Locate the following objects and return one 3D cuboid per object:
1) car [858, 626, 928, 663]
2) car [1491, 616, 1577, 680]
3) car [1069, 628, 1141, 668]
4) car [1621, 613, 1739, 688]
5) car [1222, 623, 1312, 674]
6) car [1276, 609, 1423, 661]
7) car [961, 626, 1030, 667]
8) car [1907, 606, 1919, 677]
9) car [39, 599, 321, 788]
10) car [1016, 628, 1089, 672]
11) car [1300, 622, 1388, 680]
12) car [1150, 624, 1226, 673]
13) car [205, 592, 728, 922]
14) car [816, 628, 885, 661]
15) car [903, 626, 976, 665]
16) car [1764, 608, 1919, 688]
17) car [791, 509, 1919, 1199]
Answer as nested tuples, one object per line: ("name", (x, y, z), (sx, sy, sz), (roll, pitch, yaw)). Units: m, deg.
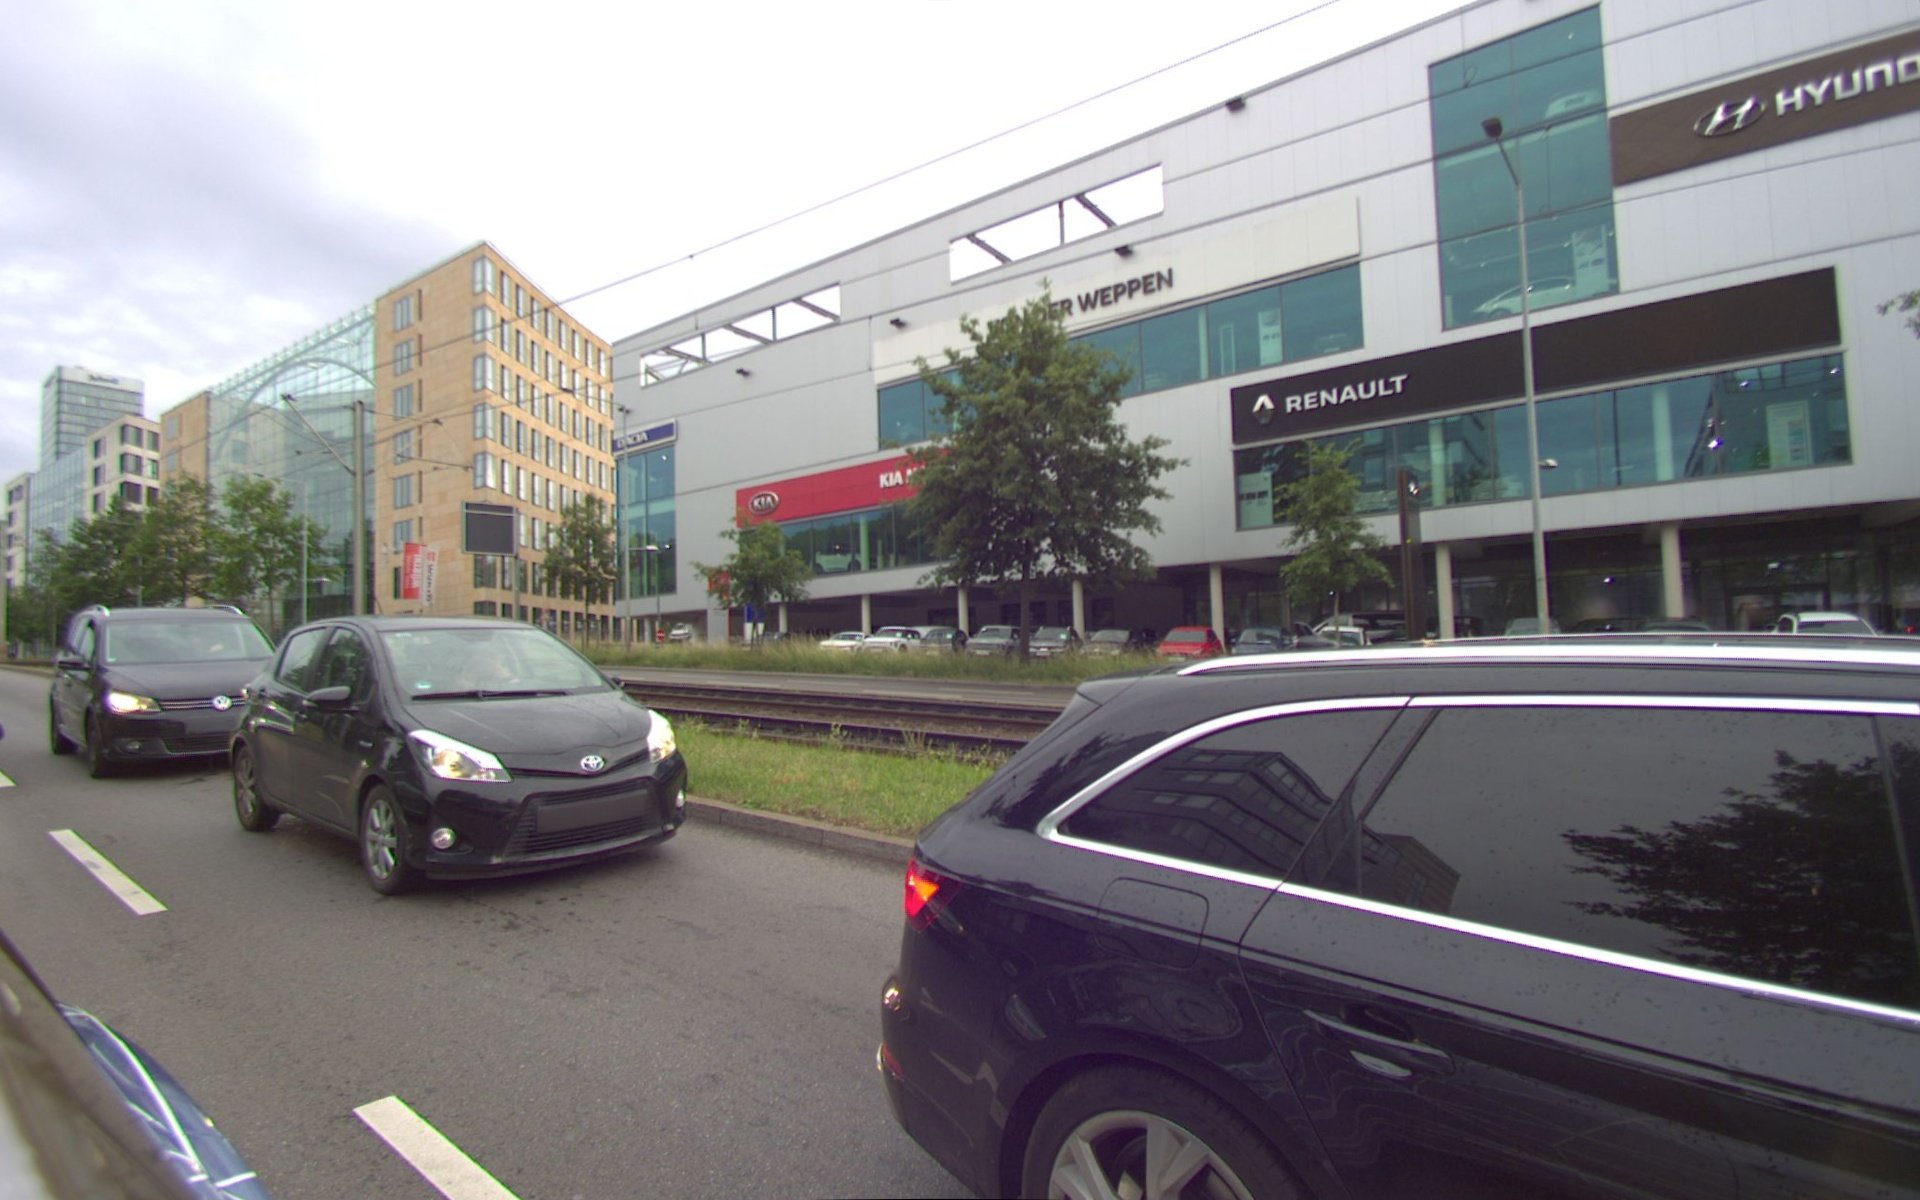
("car", (-2.790, 1.871, 42.963), (1.685, 1.304, 3.643), (-2, 1, 18))
("car", (15.862, 1.276, 27.972), (1.925, 1.470, 3.981), (-1, 1, 30))
("car", (5.251, 1.688, 36.324), (1.688, 1.190, 3.498), (-2, 1, 24))
("car", (18.061, 1.200, 25.585), (1.992, 1.562, 4.331), (-1, 1, 30))
("car", (10.081, 1.544, 33.043), (1.914, 1.362, 4.005), (-1, 1, 30))
("car", (13.962, 1.257, 36.498), (4.488, 1.796, 1.997), (-1, -1, 5))
("car", (1.435, 1.794, 39.694), (1.686, 1.362, 3.503), (-2, 1, 20))
("car", (22.824, 1.013, 22.224), (1.992, 1.627, 4.331), (-1, 1, 30))
("car", (-8.475, 0.850, 10.849), (4.318, 1.619, 1.762), (-2, -1, 44))
("car", (3.503, 1.840, 37.784), (1.688, 1.362, 3.498), (-2, 1, 24))
("car", (11.955, 1.519, 31.346), (1.914, 1.470, 4.005), (-1, 1, 30))
("car", (7.818, 1.618, 34.446), (1.789, 1.362, 3.903), (-2, 1, 24))
("car", (-3.387, 0.778, 6.641), (3.823, 1.544, 1.683), (-1, -1, 40))
("car", (-4.780, 1.941, 44.639), (1.685, 1.196, 3.643), (-2, 1, 18))
("car", (-0.782, 1.816, 41.032), (1.688, 1.362, 3.499), (-2, 1, 23))
("car", (20.600, 1.053, 23.810), (1.992, 1.562, 4.331), (-1, 1, 30))
("car", (1.886, 0.638, 1.504), (4.511, 1.478, 1.762), (-2, -2, 41))
